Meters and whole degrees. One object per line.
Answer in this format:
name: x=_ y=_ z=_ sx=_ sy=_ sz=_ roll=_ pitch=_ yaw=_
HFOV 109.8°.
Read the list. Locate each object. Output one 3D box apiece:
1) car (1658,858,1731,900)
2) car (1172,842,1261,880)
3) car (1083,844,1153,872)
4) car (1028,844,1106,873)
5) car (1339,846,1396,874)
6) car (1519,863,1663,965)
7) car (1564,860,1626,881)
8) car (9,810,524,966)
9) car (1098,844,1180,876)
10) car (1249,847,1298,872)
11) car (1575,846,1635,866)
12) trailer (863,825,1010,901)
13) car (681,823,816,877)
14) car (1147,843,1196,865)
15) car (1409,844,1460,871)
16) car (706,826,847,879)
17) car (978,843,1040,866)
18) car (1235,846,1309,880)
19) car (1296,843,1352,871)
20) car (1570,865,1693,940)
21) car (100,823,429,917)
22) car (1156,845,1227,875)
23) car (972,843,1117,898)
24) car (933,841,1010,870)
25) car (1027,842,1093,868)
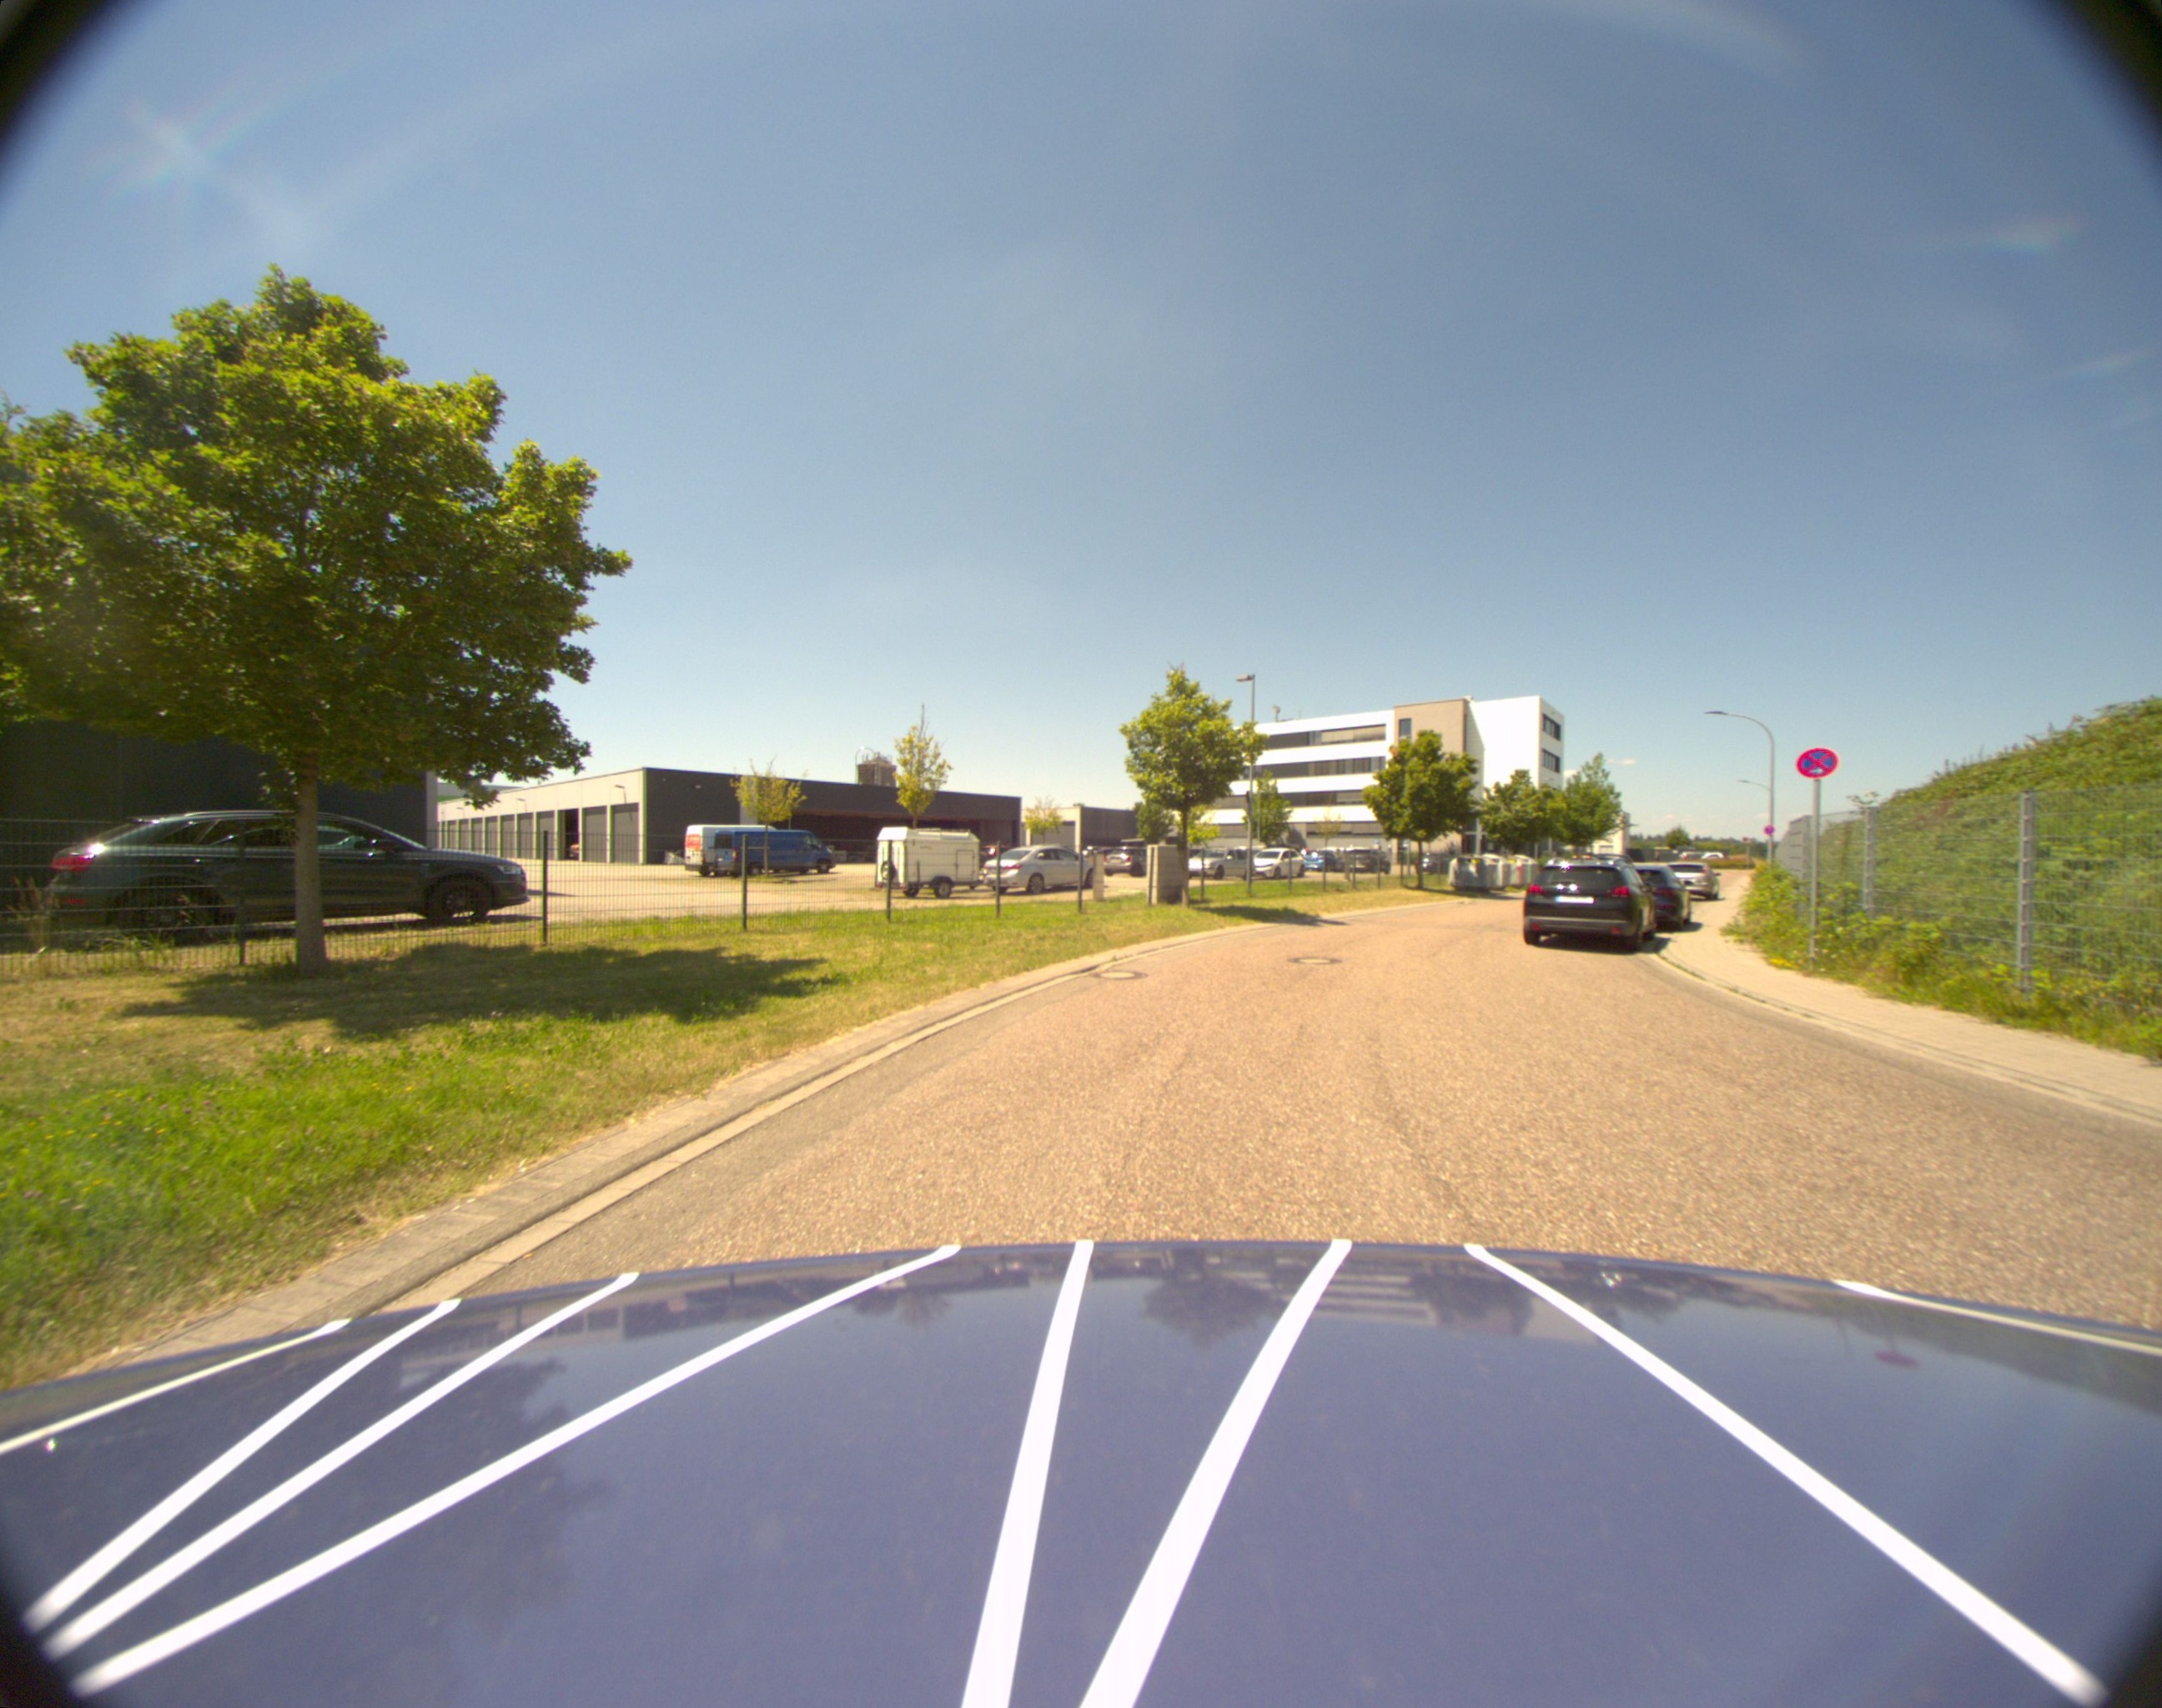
car: x=24.555 y=0.960 z=30.367 sx=1.849 sy=1.510 sz=3.956 roll=2 pitch=1 yaw=44
car: x=5.978 y=0.339 z=33.145 sx=1.849 sy=1.489 sz=4.300 roll=0 pitch=-2 yaw=40
car: x=2.126 y=0.209 z=43.141 sx=1.849 sy=1.490 sz=3.934 roll=1 pitch=0 yaw=43
car: x=-0.705 y=0.228 z=40.197 sx=1.849 sy=1.490 sz=3.934 roll=1 pitch=0 yaw=43
car: x=17.300 y=0.366 z=45.788 sx=1.827 sy=1.565 sz=3.934 roll=2 pitch=1 yaw=42
car: x=9.496 y=0.968 z=13.996 sx=1.654 sy=1.546 sz=4.142 roll=2 pitch=1 yaw=41
car: x=42.460 y=1.372 z=62.823 sx=3.989 sy=1.693 sz=1.895 roll=-2 pitch=-1 yaw=41
car: x=-10.132 y=0.294 z=9.923 sx=1.775 sy=1.592 sz=4.292 roll=2 pitch=2 yaw=40
car: x=2.830 y=0.281 z=36.653 sx=1.849 sy=1.490 sz=3.934 roll=1 pitch=0 yaw=43
car: x=14.511 y=0.419 z=57.170 sx=1.827 sy=1.634 sz=3.935 roll=-2 pitch=-4 yaw=44
car: x=44.558 y=0.182 z=64.677 sx=3.989 sy=1.630 sz=1.895 roll=-2 pitch=-1 yaw=41
trailer: x=-4.079 y=0.293 z=21.805 sx=1.849 sy=1.987 sz=3.747 roll=0 pitch=-1 yaw=42
car: x=-16.427 y=-0.266 z=37.847 sx=2.190 sy=2.443 sz=5.689 roll=0 pitch=3 yaw=40
car: x=7.287 y=0.020 z=60.968 sx=1.827 sy=1.527 sz=3.935 roll=-2 pitch=-4 yaw=44
car: x=22.247 y=0.279 z=47.706 sx=1.827 sy=1.445 sz=3.935 roll=-2 pitch=-4 yaw=42
car: x=-14.307 y=-0.172 z=36.073 sx=2.137 sy=2.213 sz=5.843 roll=2 pitch=4 yaw=40
car: x=-4.818 y=0.069 z=51.255 sx=1.849 sy=1.490 sz=3.934 roll=1 pitch=0 yaw=43
car: x=9.425 y=0.404 z=37.322 sx=1.849 sy=1.490 sz=3.932 roll=1 pitch=3 yaw=43
car: x=15.175 y=0.221 z=47.361 sx=1.827 sy=1.445 sz=3.935 roll=-2 pitch=-4 yaw=42
car: x=12.917 y=1.020 z=17.714 sx=1.935 sy=1.446 sz=4.291 roll=2 pitch=1 yaw=41
car: x=-15.624 y=0.280 z=14.804 sx=1.775 sy=1.557 sz=4.182 roll=2 pitch=0 yaw=40
car: x=5.921 y=0.353 z=40.474 sx=1.849 sy=1.490 sz=3.934 roll=2 pitch=0 yaw=42
car: x=-1.087 y=0.466 z=25.002 sx=1.849 sy=1.490 sz=4.865 roll=0 pitch=3 yaw=42
car: x=-6.463 y=0.084 z=45.134 sx=1.962 sy=1.622 sz=4.263 roll=1 pitch=0 yaw=43
car: x=-1.288 y=0.041 z=47.314 sx=1.849 sy=1.490 sz=3.933 roll=1 pitch=2 yaw=43
